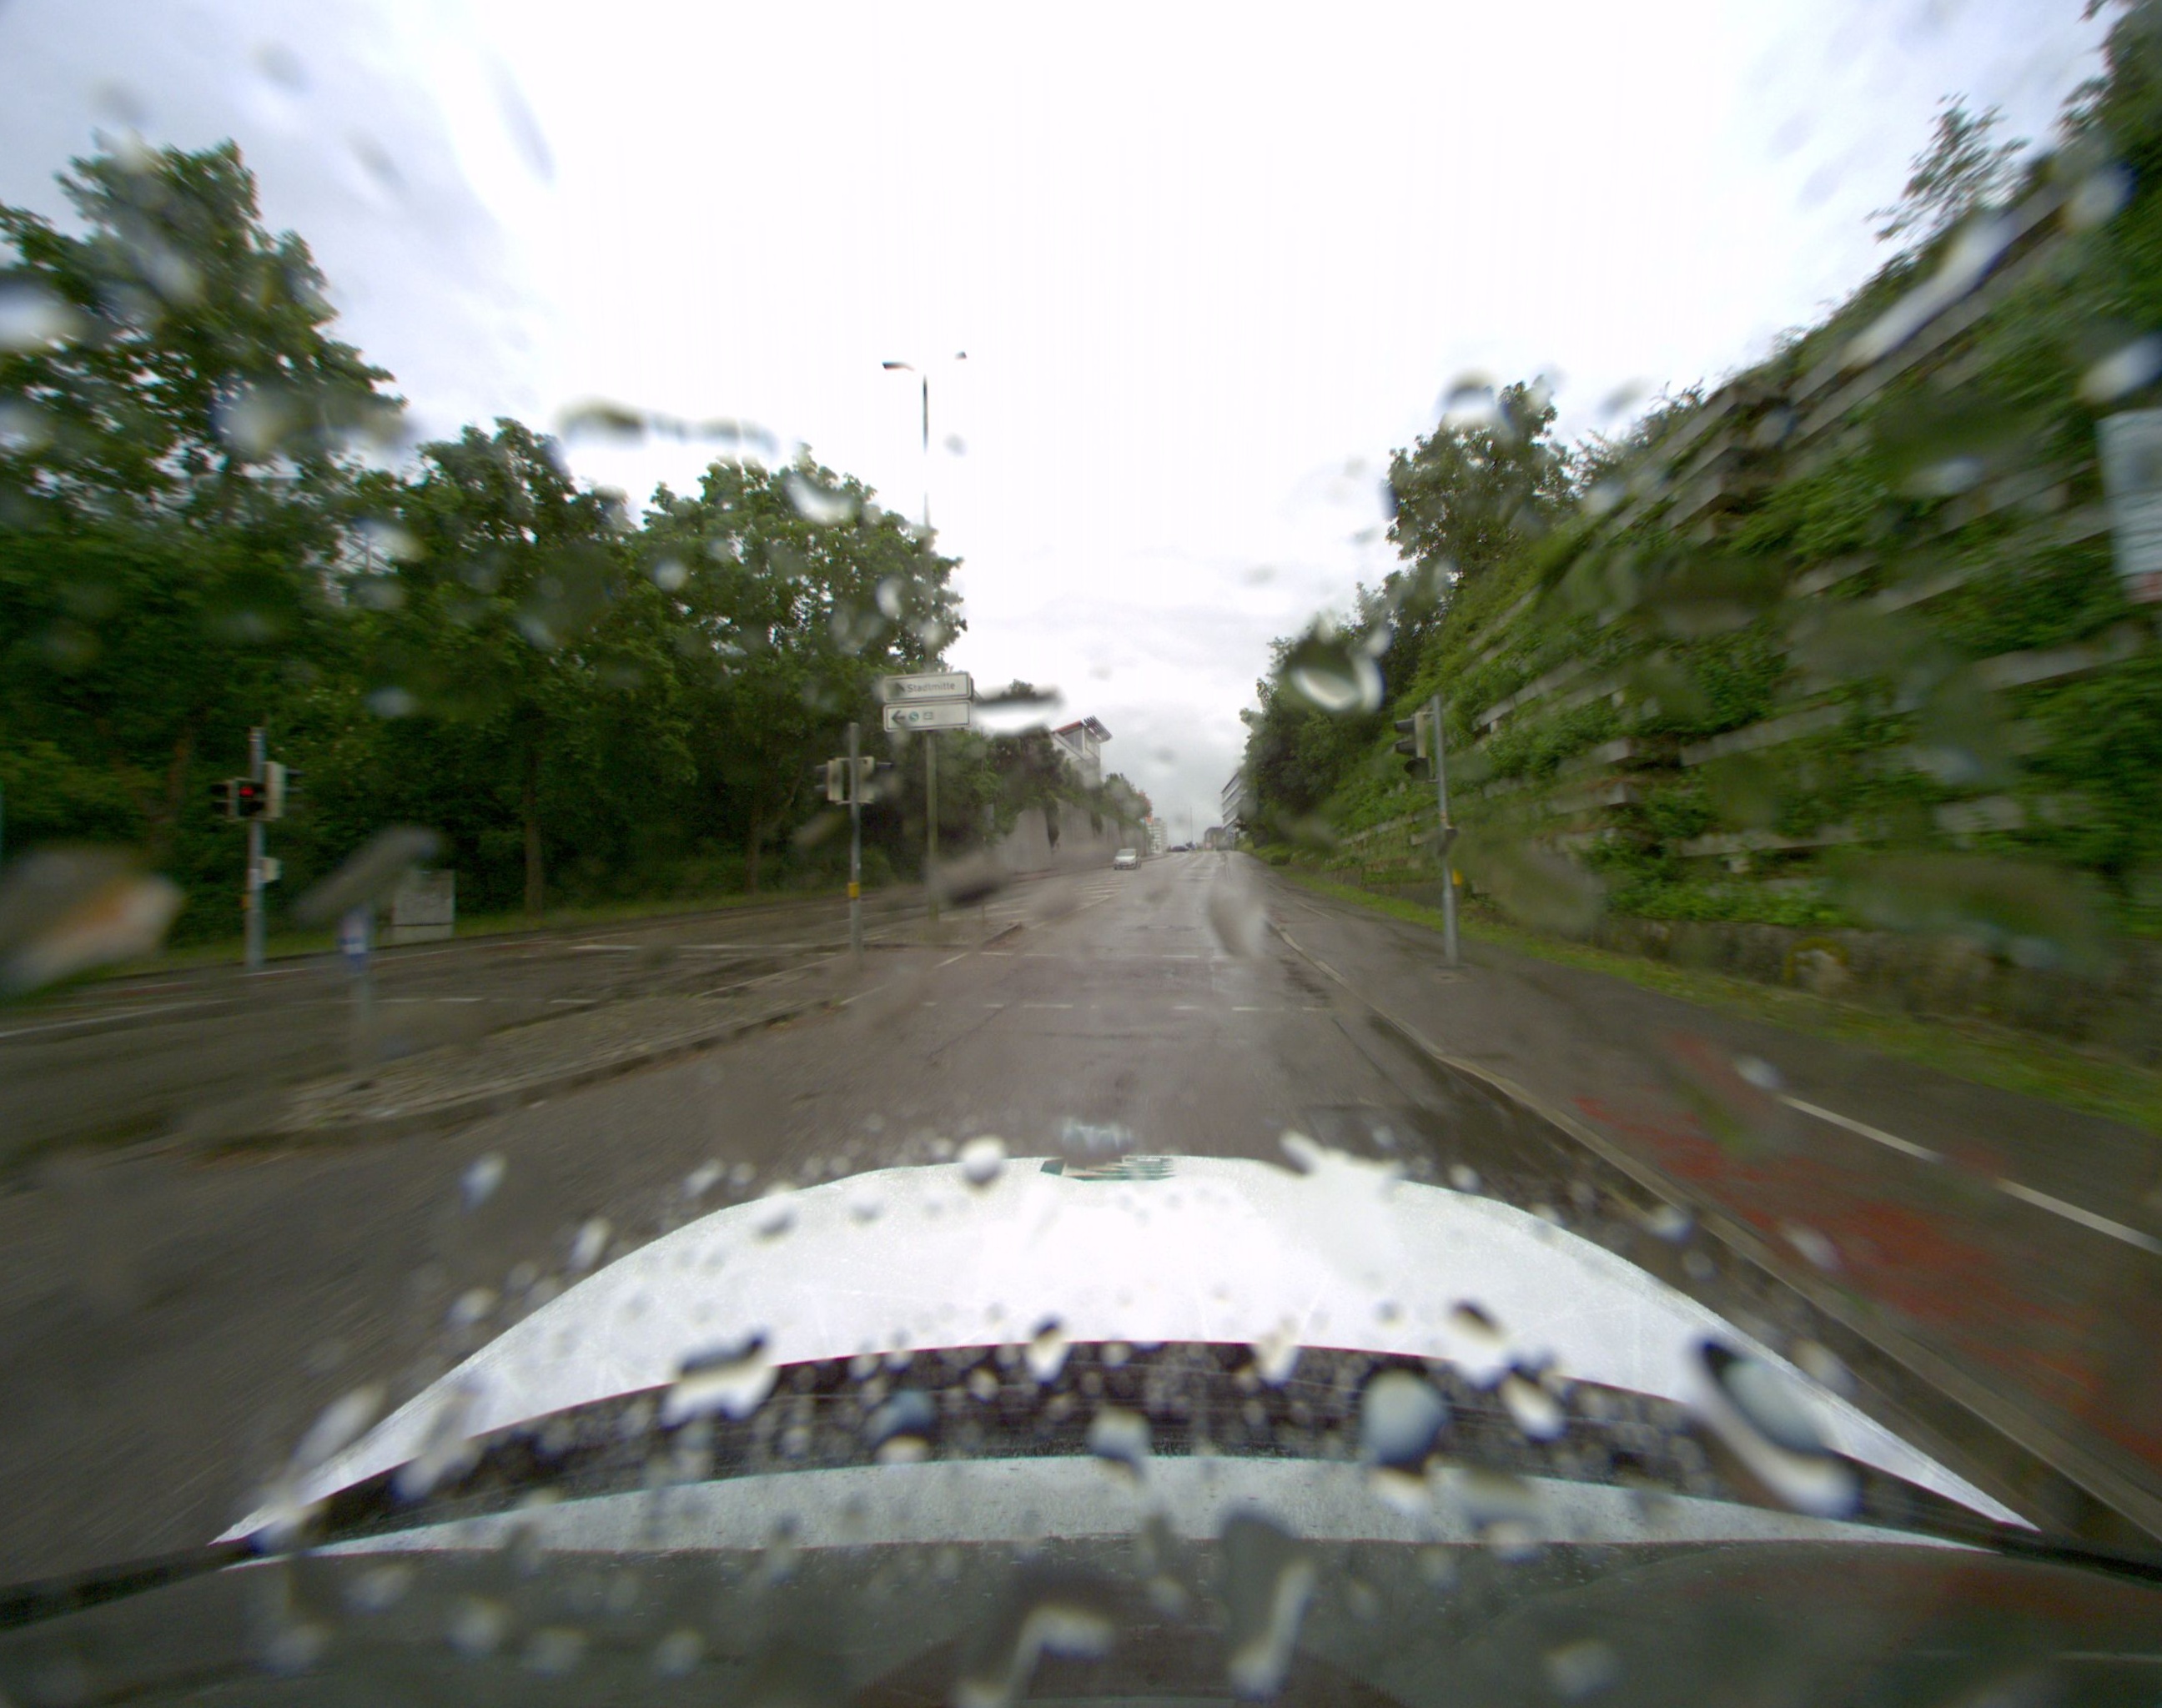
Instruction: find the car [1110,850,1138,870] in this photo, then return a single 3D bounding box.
[{"bbox_3d":[3.156,0.461,59.936,1.510,1.448,3.808,-1,-1,-6],"label":"car"}]
